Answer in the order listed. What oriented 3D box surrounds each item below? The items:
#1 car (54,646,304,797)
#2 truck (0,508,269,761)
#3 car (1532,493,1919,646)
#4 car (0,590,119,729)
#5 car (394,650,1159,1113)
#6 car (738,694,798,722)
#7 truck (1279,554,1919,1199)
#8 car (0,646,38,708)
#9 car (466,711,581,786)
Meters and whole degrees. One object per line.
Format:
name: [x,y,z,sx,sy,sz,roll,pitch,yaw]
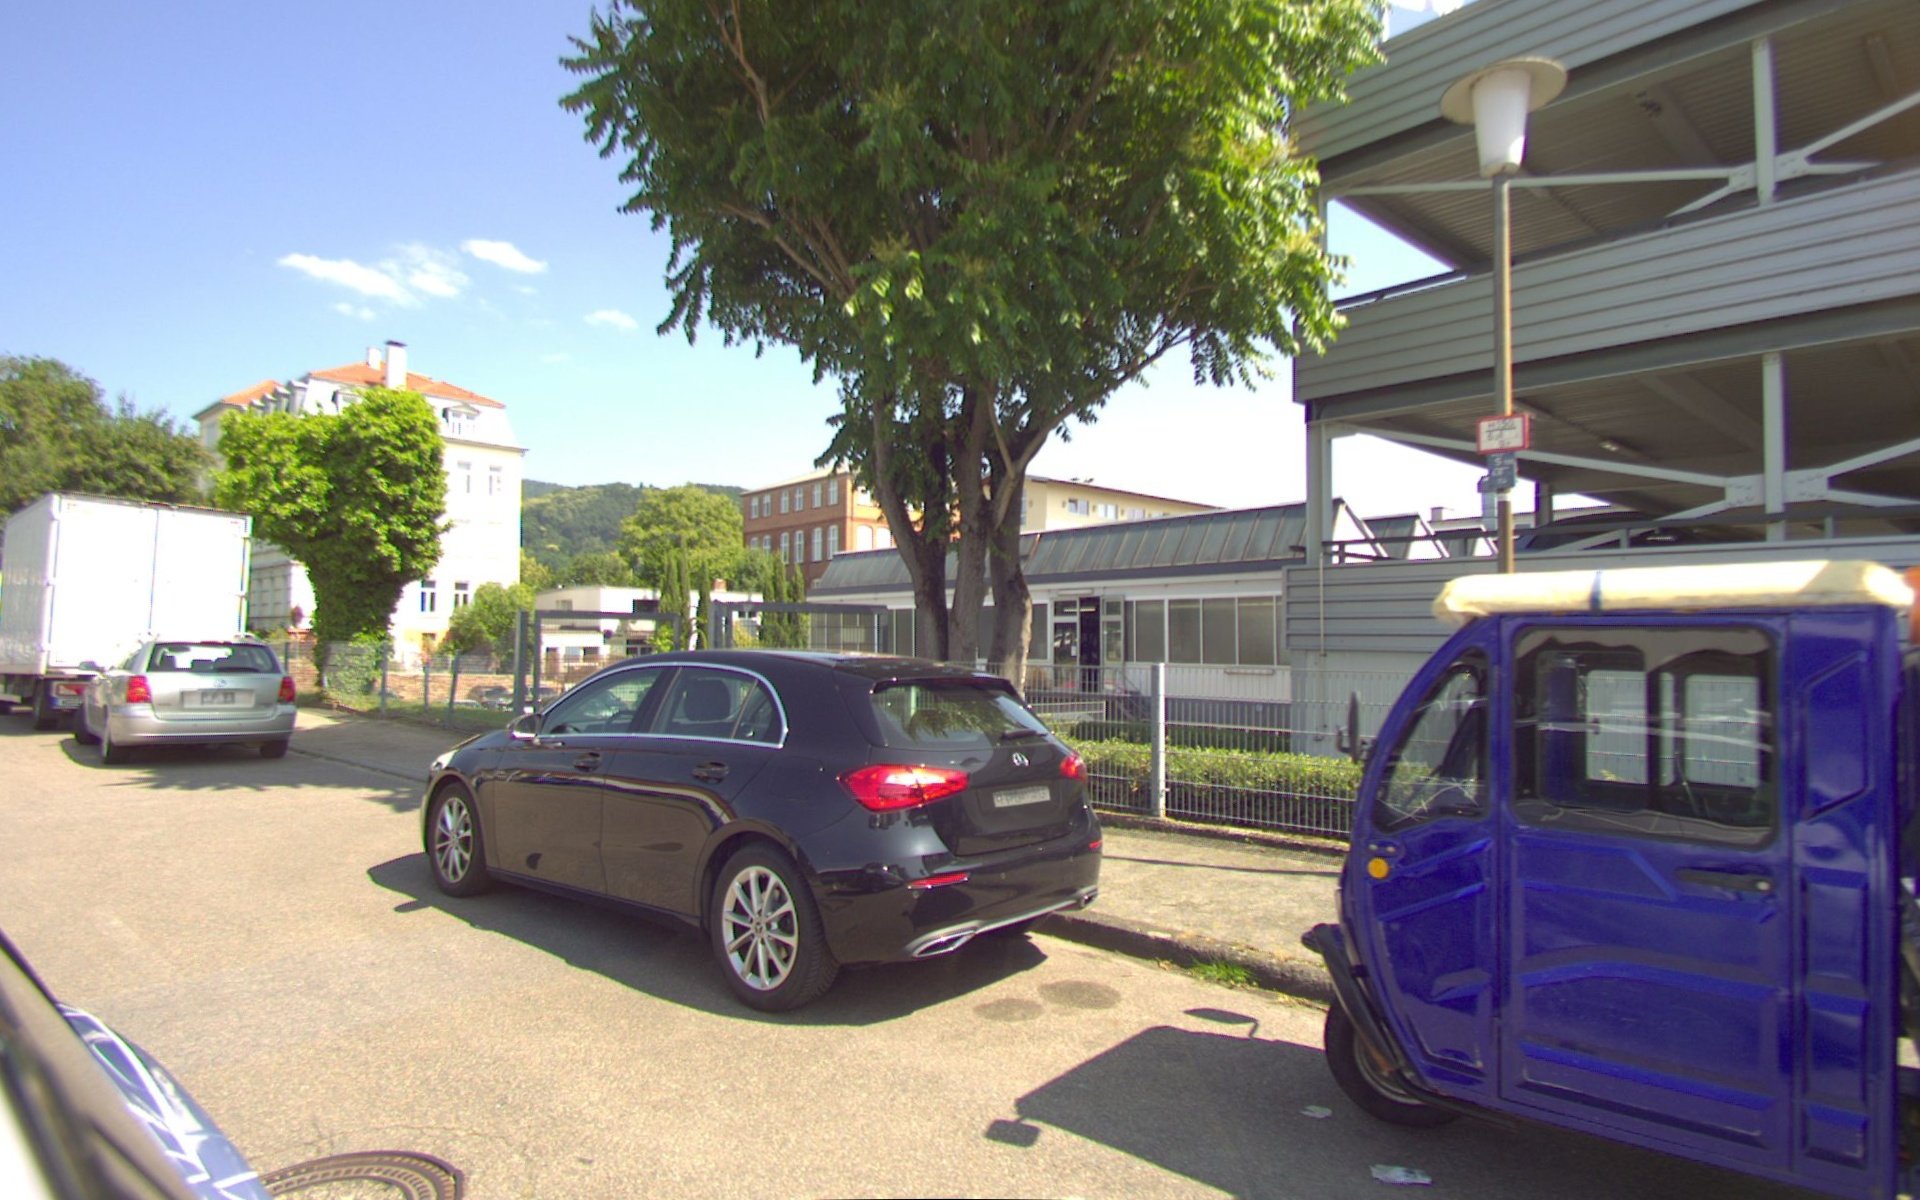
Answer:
car: [-9.691,1.359,12.428,4.310,1.533,1.722,-3,-5,43]
truck: [-14.300,0.576,16.847,7.124,3.392,2.658,-1,-4,40]
car: [9.954,-0.315,13.421,1.787,1.684,4.012,1,-1,-16]
car: [-20.321,1.225,21.820,6.916,2.616,2.146,-1,-4,41]
car: [-1.199,1.029,5.293,4.111,1.474,1.687,-2,-5,40]
car: [-12.936,7.228,68.016,1.794,1.690,4.608,6,-6,-41]
truck: [2.458,0.756,2.278,3.137,1.634,1.127,-2,-6,39]
car: [-26.727,2.044,27.514,4.395,1.555,1.697,-1,-5,39]
car: [-14.598,4.865,33.756,4.352,1.944,1.842,-1,-1,41]
